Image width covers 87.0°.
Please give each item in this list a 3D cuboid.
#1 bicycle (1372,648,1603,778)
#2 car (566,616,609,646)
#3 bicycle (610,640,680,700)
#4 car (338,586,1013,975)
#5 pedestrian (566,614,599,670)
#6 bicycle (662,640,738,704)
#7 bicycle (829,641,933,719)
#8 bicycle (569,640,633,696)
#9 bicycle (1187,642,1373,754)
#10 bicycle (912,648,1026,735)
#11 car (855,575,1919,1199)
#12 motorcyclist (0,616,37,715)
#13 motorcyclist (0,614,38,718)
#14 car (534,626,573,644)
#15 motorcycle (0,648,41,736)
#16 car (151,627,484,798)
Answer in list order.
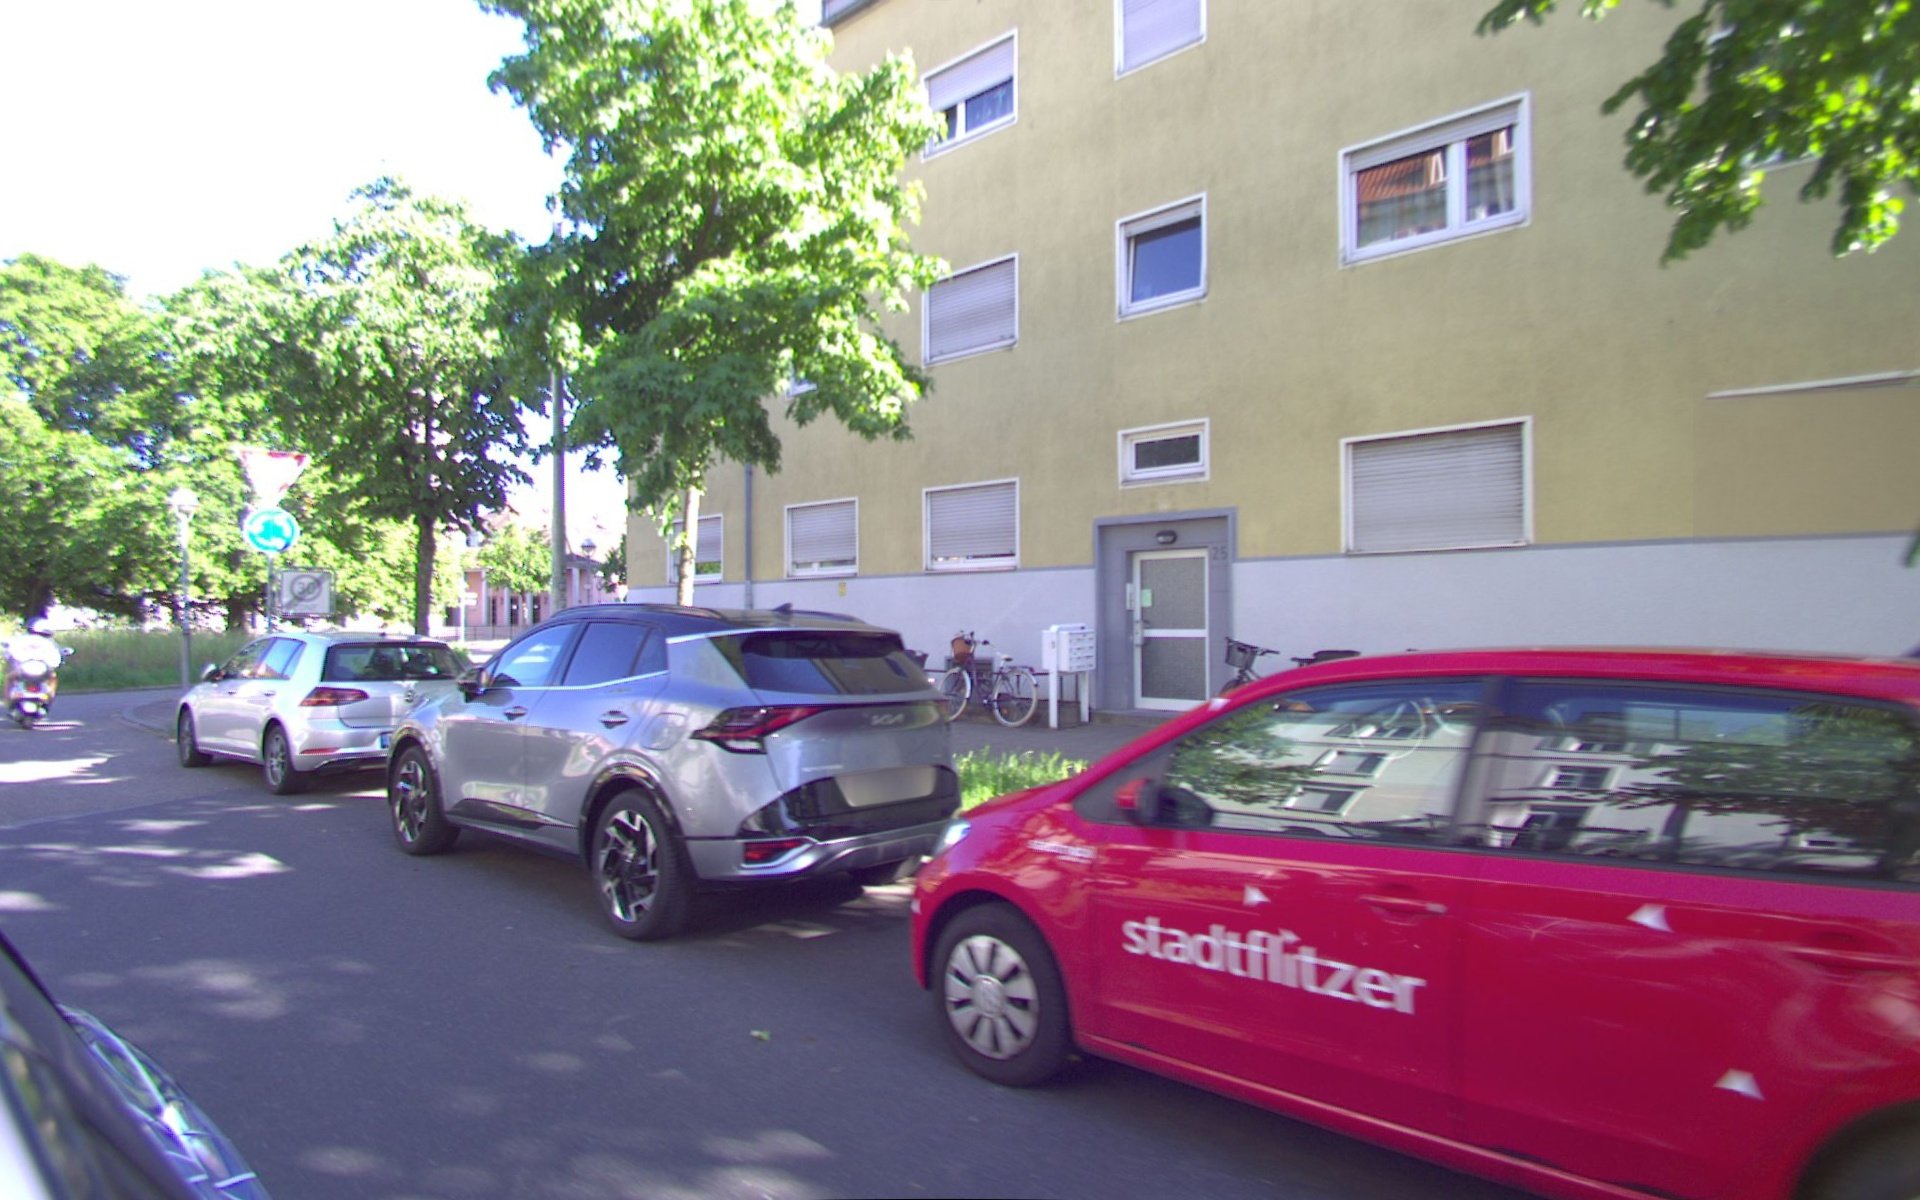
[{"bbox_3d":[4.682,0.961,9.083,1.748,1.034,0.530,-2,-2,43],"label":"bicycle"},{"bbox_3d":[-26.316,2.205,71.442,1.966,2.029,4.010,1,-2,-34],"label":"car"},{"bbox_3d":[-5.601,1.218,17.963,1.544,1.008,0.470,-2,-2,42],"label":"bicycle"},{"bbox_3d":[-2.060,0.801,6.294,4.731,1.577,1.674,-2,-2,40],"label":"car"},{"bbox_3d":[-11.045,1.218,29.589,0.665,1.628,0.686,-2,-2,44],"label":"pedestrian"},{"bbox_3d":[-4.342,1.178,16.846,1.544,1.008,0.448,-2,-2,42],"label":"bicycle"},{"bbox_3d":[-1.109,1.080,14.018,1.544,1.008,0.506,-2,-2,42],"label":"bicycle"},{"bbox_3d":[-6.791,1.262,19.096,1.544,1.008,0.471,-2,-2,42],"label":"bicycle"},{"bbox_3d":[3.237,0.960,10.367,1.748,1.034,0.534,-2,-2,43],"label":"bicycle"},{"bbox_3d":[0.093,1.130,12.859,0.509,1.008,1.545,1,-2,-45],"label":"bicycle"},{"bbox_3d":[1.367,0.745,3.252,3.255,1.497,1.647,-2,-2,42],"label":"car"},{"bbox_3d":[-13.747,0.937,14.614,0.519,1.413,0.547,-2,-2,41],"label":"motorcyclist"},{"bbox_3d":[-13.402,0.921,14.276,0.403,1.437,0.538,-2,-2,41],"label":"motorcyclist"},{"bbox_3d":[-27.763,2.367,69.086,1.739,1.187,4.011,1,-2,-33],"label":"car"},{"bbox_3d":[-13.759,1.295,14.599,1.632,1.184,0.547,-2,-2,41],"label":"motorcycle"},{"bbox_3d":[-6.819,1.021,10.596,3.989,1.453,1.743,-2,-2,38],"label":"car"}]
